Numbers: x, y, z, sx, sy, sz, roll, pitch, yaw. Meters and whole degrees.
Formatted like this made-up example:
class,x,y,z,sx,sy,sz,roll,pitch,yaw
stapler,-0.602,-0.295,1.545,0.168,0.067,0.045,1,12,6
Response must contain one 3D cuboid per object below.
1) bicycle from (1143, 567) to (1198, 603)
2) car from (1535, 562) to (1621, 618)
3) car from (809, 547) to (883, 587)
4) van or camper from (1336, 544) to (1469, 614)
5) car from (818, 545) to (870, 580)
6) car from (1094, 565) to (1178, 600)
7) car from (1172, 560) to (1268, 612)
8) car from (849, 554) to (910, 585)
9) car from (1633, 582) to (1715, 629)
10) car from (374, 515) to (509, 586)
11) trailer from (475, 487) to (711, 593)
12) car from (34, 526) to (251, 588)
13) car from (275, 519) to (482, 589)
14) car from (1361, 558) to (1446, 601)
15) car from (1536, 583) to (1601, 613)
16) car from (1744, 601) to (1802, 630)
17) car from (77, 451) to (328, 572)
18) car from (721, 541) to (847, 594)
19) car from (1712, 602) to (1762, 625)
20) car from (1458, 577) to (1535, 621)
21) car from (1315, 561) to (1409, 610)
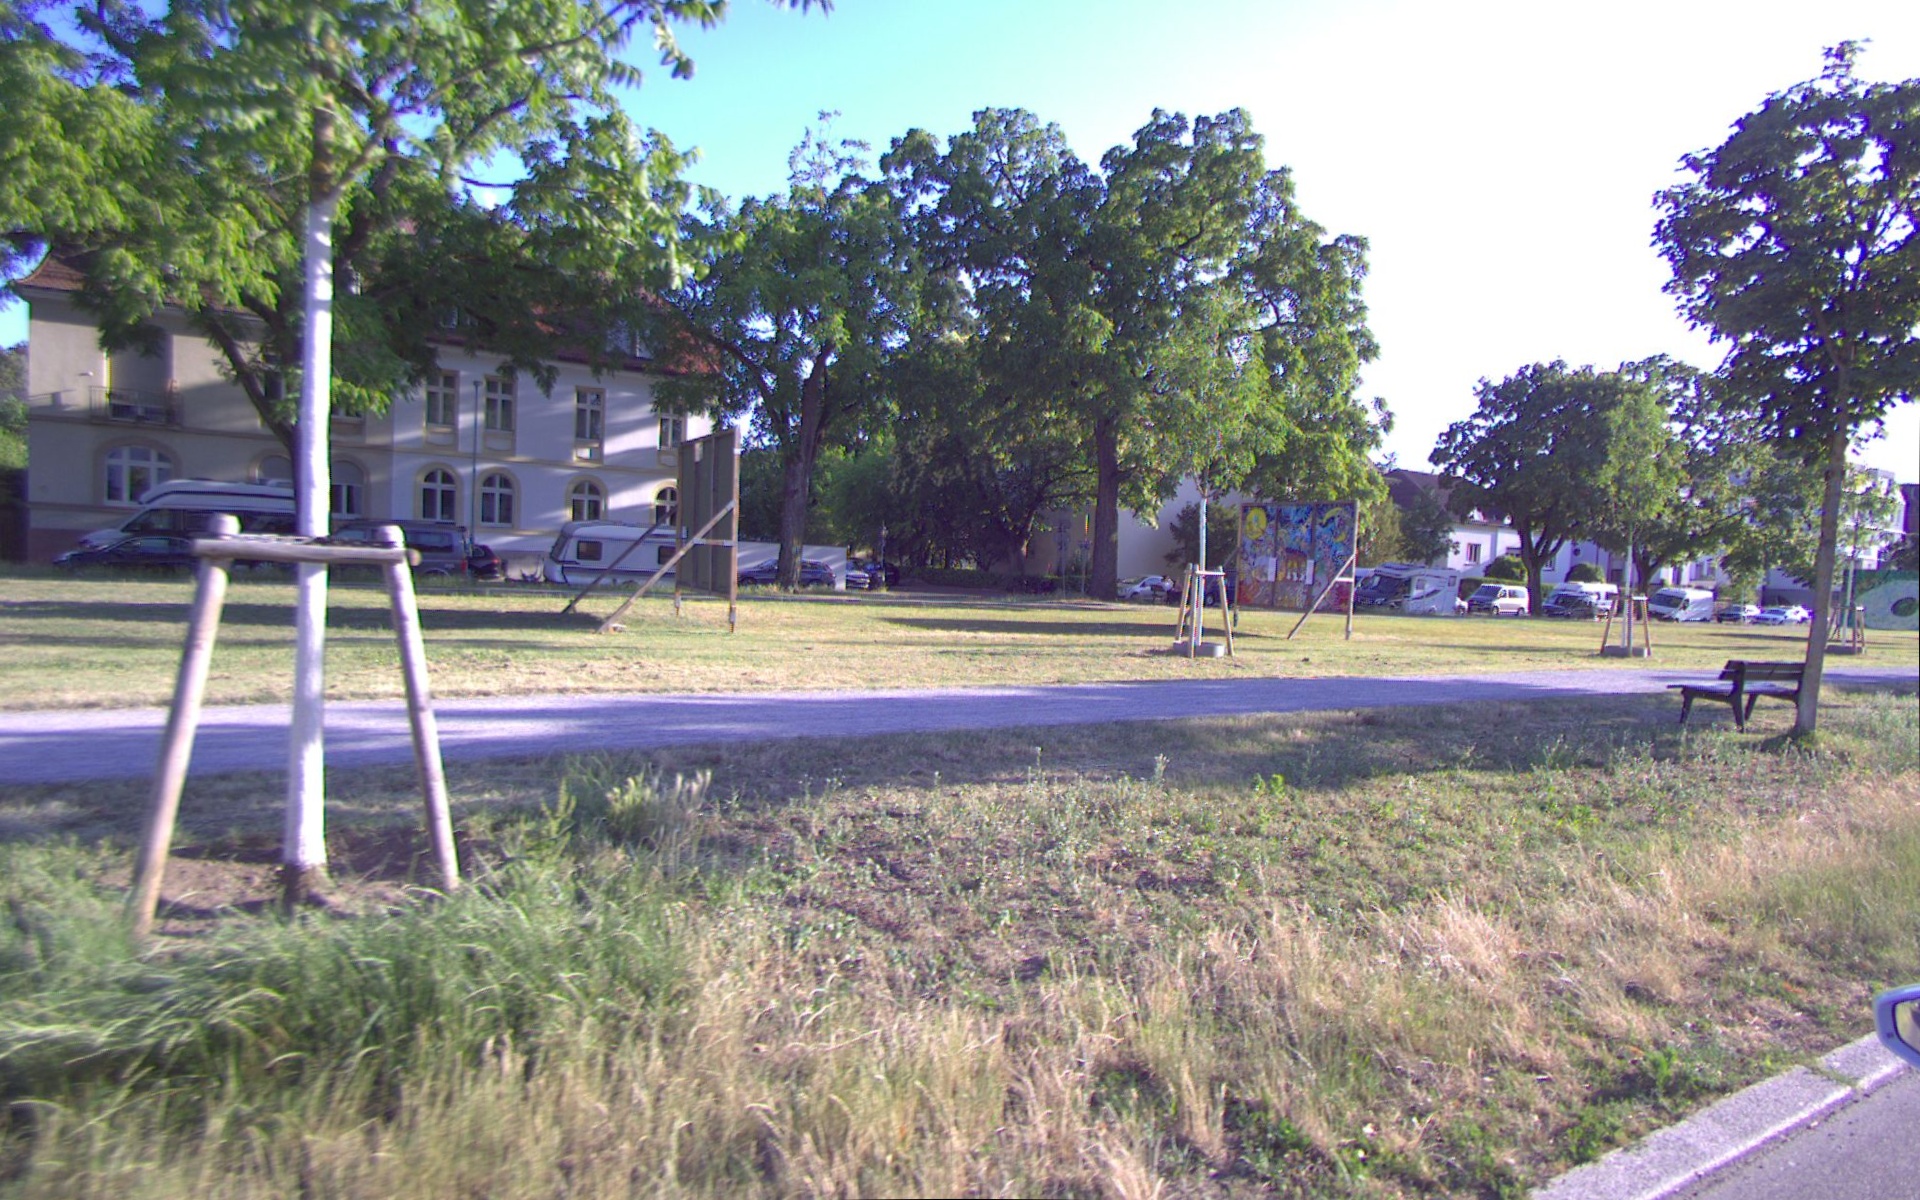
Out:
class,x,y,z,sx,sy,sz,roll,pitch,yaw
bicycle,8.368,-0.590,39.899,2.300,1.360,0.508,2,3,-27
car,43.802,-0.627,71.102,6.686,3.606,2.292,3,-2,-30
car,-6.029,-1.754,52.725,1.961,1.925,4.483,1,3,-34
van or camper,22.940,-1.074,51.967,6.822,3.306,2.629,1,3,-30
car,-7.714,-2.489,66.592,1.850,2.152,3.965,1,3,-31
car,8.911,-0.887,50.757,3.767,1.563,1.982,2,3,-32
car,13.905,-0.691,53.644,5.056,2.450,1.928,3,-2,-30
car,-5.042,-1.909,62.367,2.156,1.703,4.110,1,3,-32
car,47.322,0.384,66.536,5.802,2.863,2.250,3,-2,-30
car,-17.638,-1.651,34.228,3.952,2.183,1.984,1,3,-30
trailer,-11.421,-1.751,31.498,6.561,2.694,2.461,3,-2,-31
car,-20.858,-1.100,25.848,3.991,1.333,1.845,2,3,-28
car,-16.410,-1.288,28.550,4.897,1.664,1.982,2,3,-32
car,22.940,-1.074,51.967,3.952,2.041,1.984,1,3,-30
car,36.108,-0.101,59.589,4.261,1.585,1.406,2,3,-31
car,60.454,1.168,74.671,4.587,1.924,1.825,3,-2,-29
car,-23.243,-2.629,31.203,6.004,3.293,1.983,1,3,-31
car,-7.174,-1.328,41.056,4.657,1.938,1.881,1,3,-30
car,64.928,1.166,83.919,4.613,1.725,1.773,3,-2,-31
car,35.475,-0.040,66.345,5.267,2.638,2.124,3,-2,-32
car,24.101,-0.806,60.150,6.020,2.632,1.984,3,-2,-31
